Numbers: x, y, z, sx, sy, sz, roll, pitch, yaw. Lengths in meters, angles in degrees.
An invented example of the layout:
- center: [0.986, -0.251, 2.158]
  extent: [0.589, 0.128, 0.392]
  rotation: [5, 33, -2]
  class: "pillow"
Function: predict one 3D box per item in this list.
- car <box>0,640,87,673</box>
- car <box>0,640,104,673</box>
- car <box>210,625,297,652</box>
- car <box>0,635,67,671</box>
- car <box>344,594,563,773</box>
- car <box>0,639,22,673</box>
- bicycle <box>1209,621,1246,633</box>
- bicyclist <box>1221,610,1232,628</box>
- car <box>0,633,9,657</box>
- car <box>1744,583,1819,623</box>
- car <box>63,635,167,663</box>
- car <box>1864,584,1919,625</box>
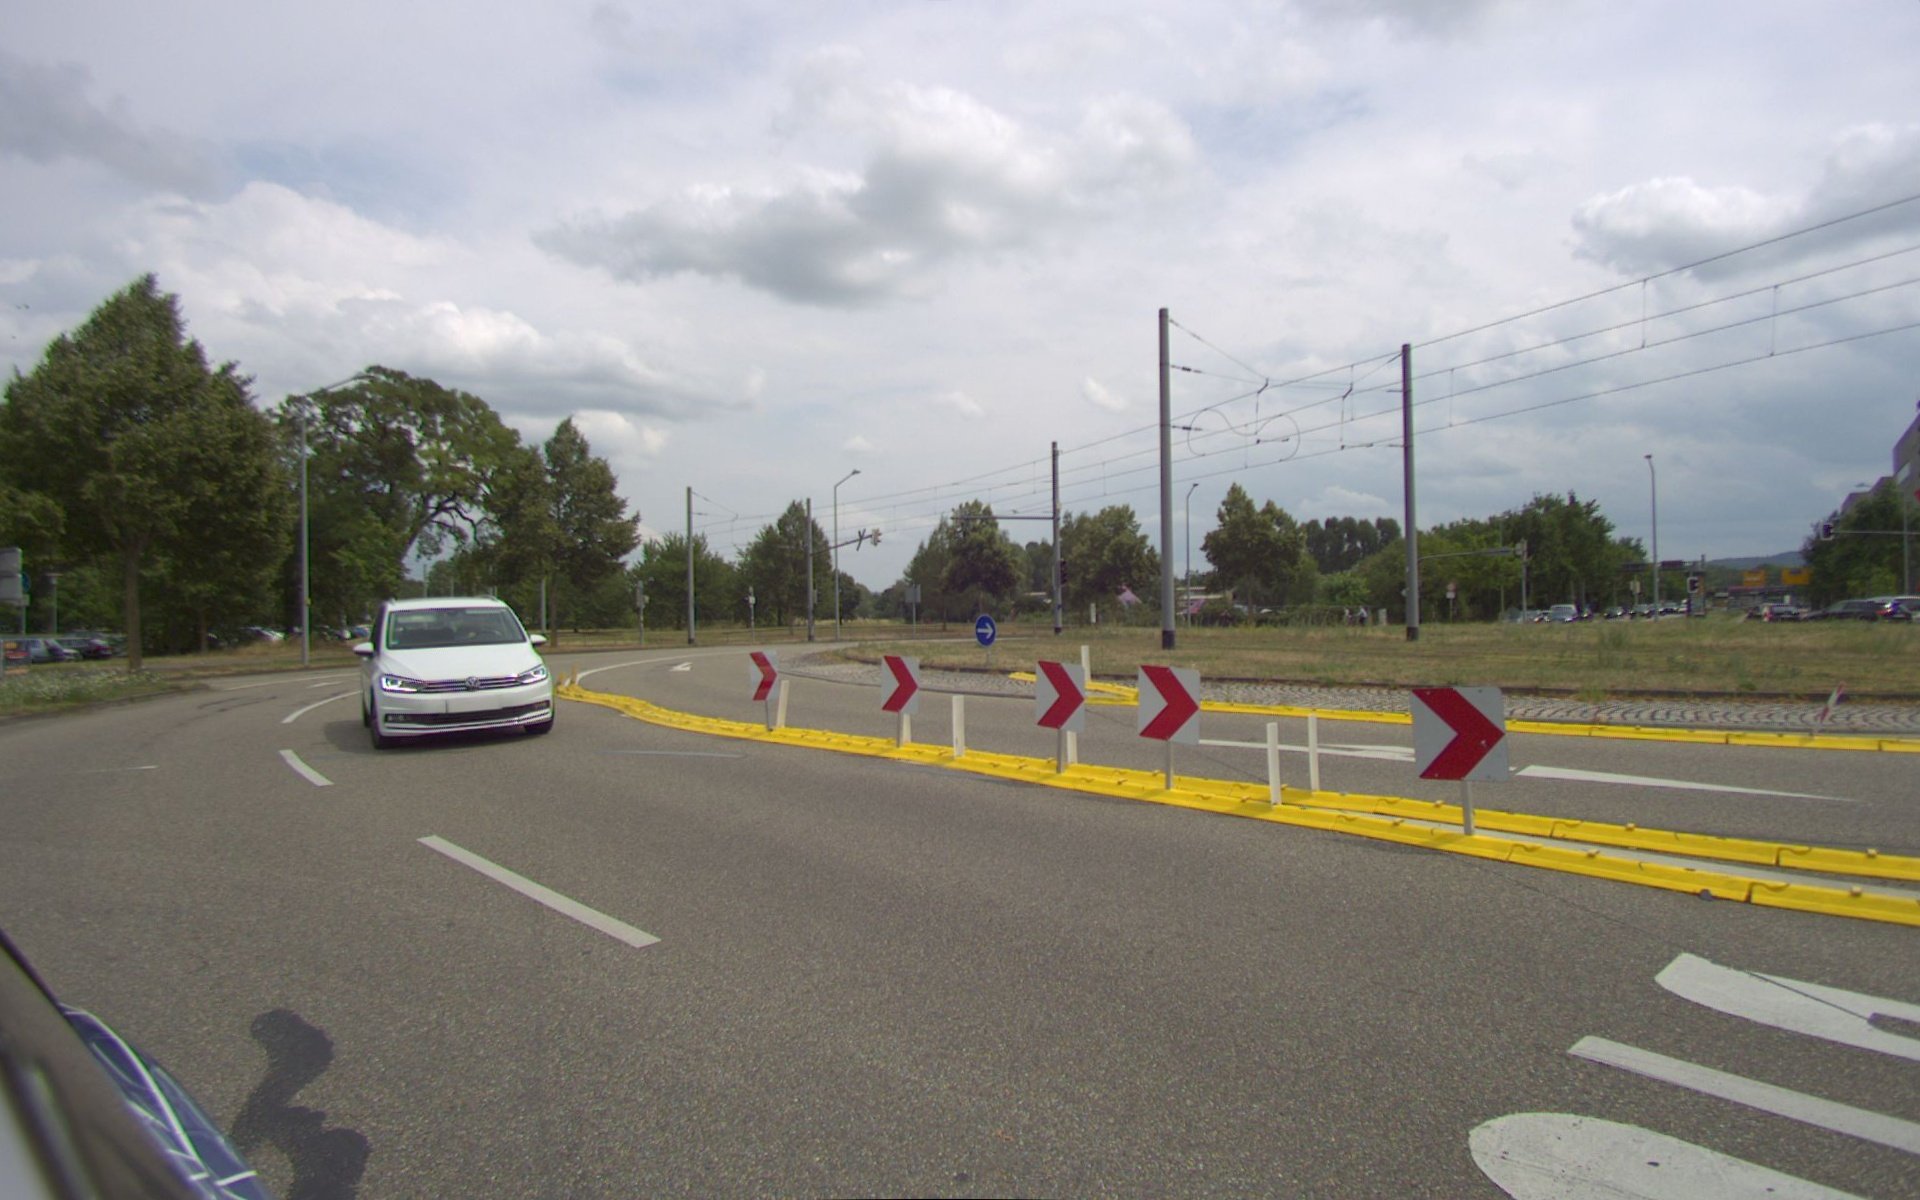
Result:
- center: [-44.867, 2.693, 48.073]
  extent: [4.804, 1.482, 1.839]
  rotation: [0, -1, -21]
  class: "car"
- center: [-45.870, 2.807, 50.266]
  extent: [4.804, 1.482, 1.839]
  rotation: [0, -1, -21]
  class: "car"
- center: [-57.921, 3.164, 83.083]
  extent: [5.473, 2.071, 2.208]
  rotation: [0, -1, -21]
  class: "car"
- center: [-43.567, 2.471, 45.608]
  extent: [4.625, 1.482, 1.839]
  rotation: [-3, 0, -24]
  class: "car"
- center: [-6.288, 0.841, 12.266]
  extent: [1.906, 1.678, 4.368]
  rotation: [-2, 1, -32]
  class: "car"
- center: [-42.361, 2.465, 43.346]
  extent: [2.866, 1.434, 1.488]
  rotation: [-3, -1, -28]
  class: "car"
- center: [20.592, 2.045, 77.880]
  extent: [2.641, 0.861, 0.858]
  rotation: [-2, -1, 22]
  class: "bicycle"
- center: [20.496, 1.451, 77.916]
  extent: [0.669, 1.420, 0.858]
  rotation: [-2, -1, 22]
  class: "bicyclist"
- center: [-64.803, 2.997, 65.813]
  extent: [3.938, 1.586, 1.823]
  rotation: [-1, -1, -22]
  class: "car"
- center: [43.768, 0.163, 53.995]
  extent: [1.986, 2.029, 3.971]
  rotation: [0, 0, 22]
  class: "car"
- center: [-49.482, 2.844, 59.334]
  extent: [4.311, 1.482, 1.839]
  rotation: [0, -1, -21]
  class: "car"
- center: [48.955, 0.241, 52.254]
  extent: [1.986, 2.029, 4.330]
  rotation: [0, -1, 22]
  class: "car"
